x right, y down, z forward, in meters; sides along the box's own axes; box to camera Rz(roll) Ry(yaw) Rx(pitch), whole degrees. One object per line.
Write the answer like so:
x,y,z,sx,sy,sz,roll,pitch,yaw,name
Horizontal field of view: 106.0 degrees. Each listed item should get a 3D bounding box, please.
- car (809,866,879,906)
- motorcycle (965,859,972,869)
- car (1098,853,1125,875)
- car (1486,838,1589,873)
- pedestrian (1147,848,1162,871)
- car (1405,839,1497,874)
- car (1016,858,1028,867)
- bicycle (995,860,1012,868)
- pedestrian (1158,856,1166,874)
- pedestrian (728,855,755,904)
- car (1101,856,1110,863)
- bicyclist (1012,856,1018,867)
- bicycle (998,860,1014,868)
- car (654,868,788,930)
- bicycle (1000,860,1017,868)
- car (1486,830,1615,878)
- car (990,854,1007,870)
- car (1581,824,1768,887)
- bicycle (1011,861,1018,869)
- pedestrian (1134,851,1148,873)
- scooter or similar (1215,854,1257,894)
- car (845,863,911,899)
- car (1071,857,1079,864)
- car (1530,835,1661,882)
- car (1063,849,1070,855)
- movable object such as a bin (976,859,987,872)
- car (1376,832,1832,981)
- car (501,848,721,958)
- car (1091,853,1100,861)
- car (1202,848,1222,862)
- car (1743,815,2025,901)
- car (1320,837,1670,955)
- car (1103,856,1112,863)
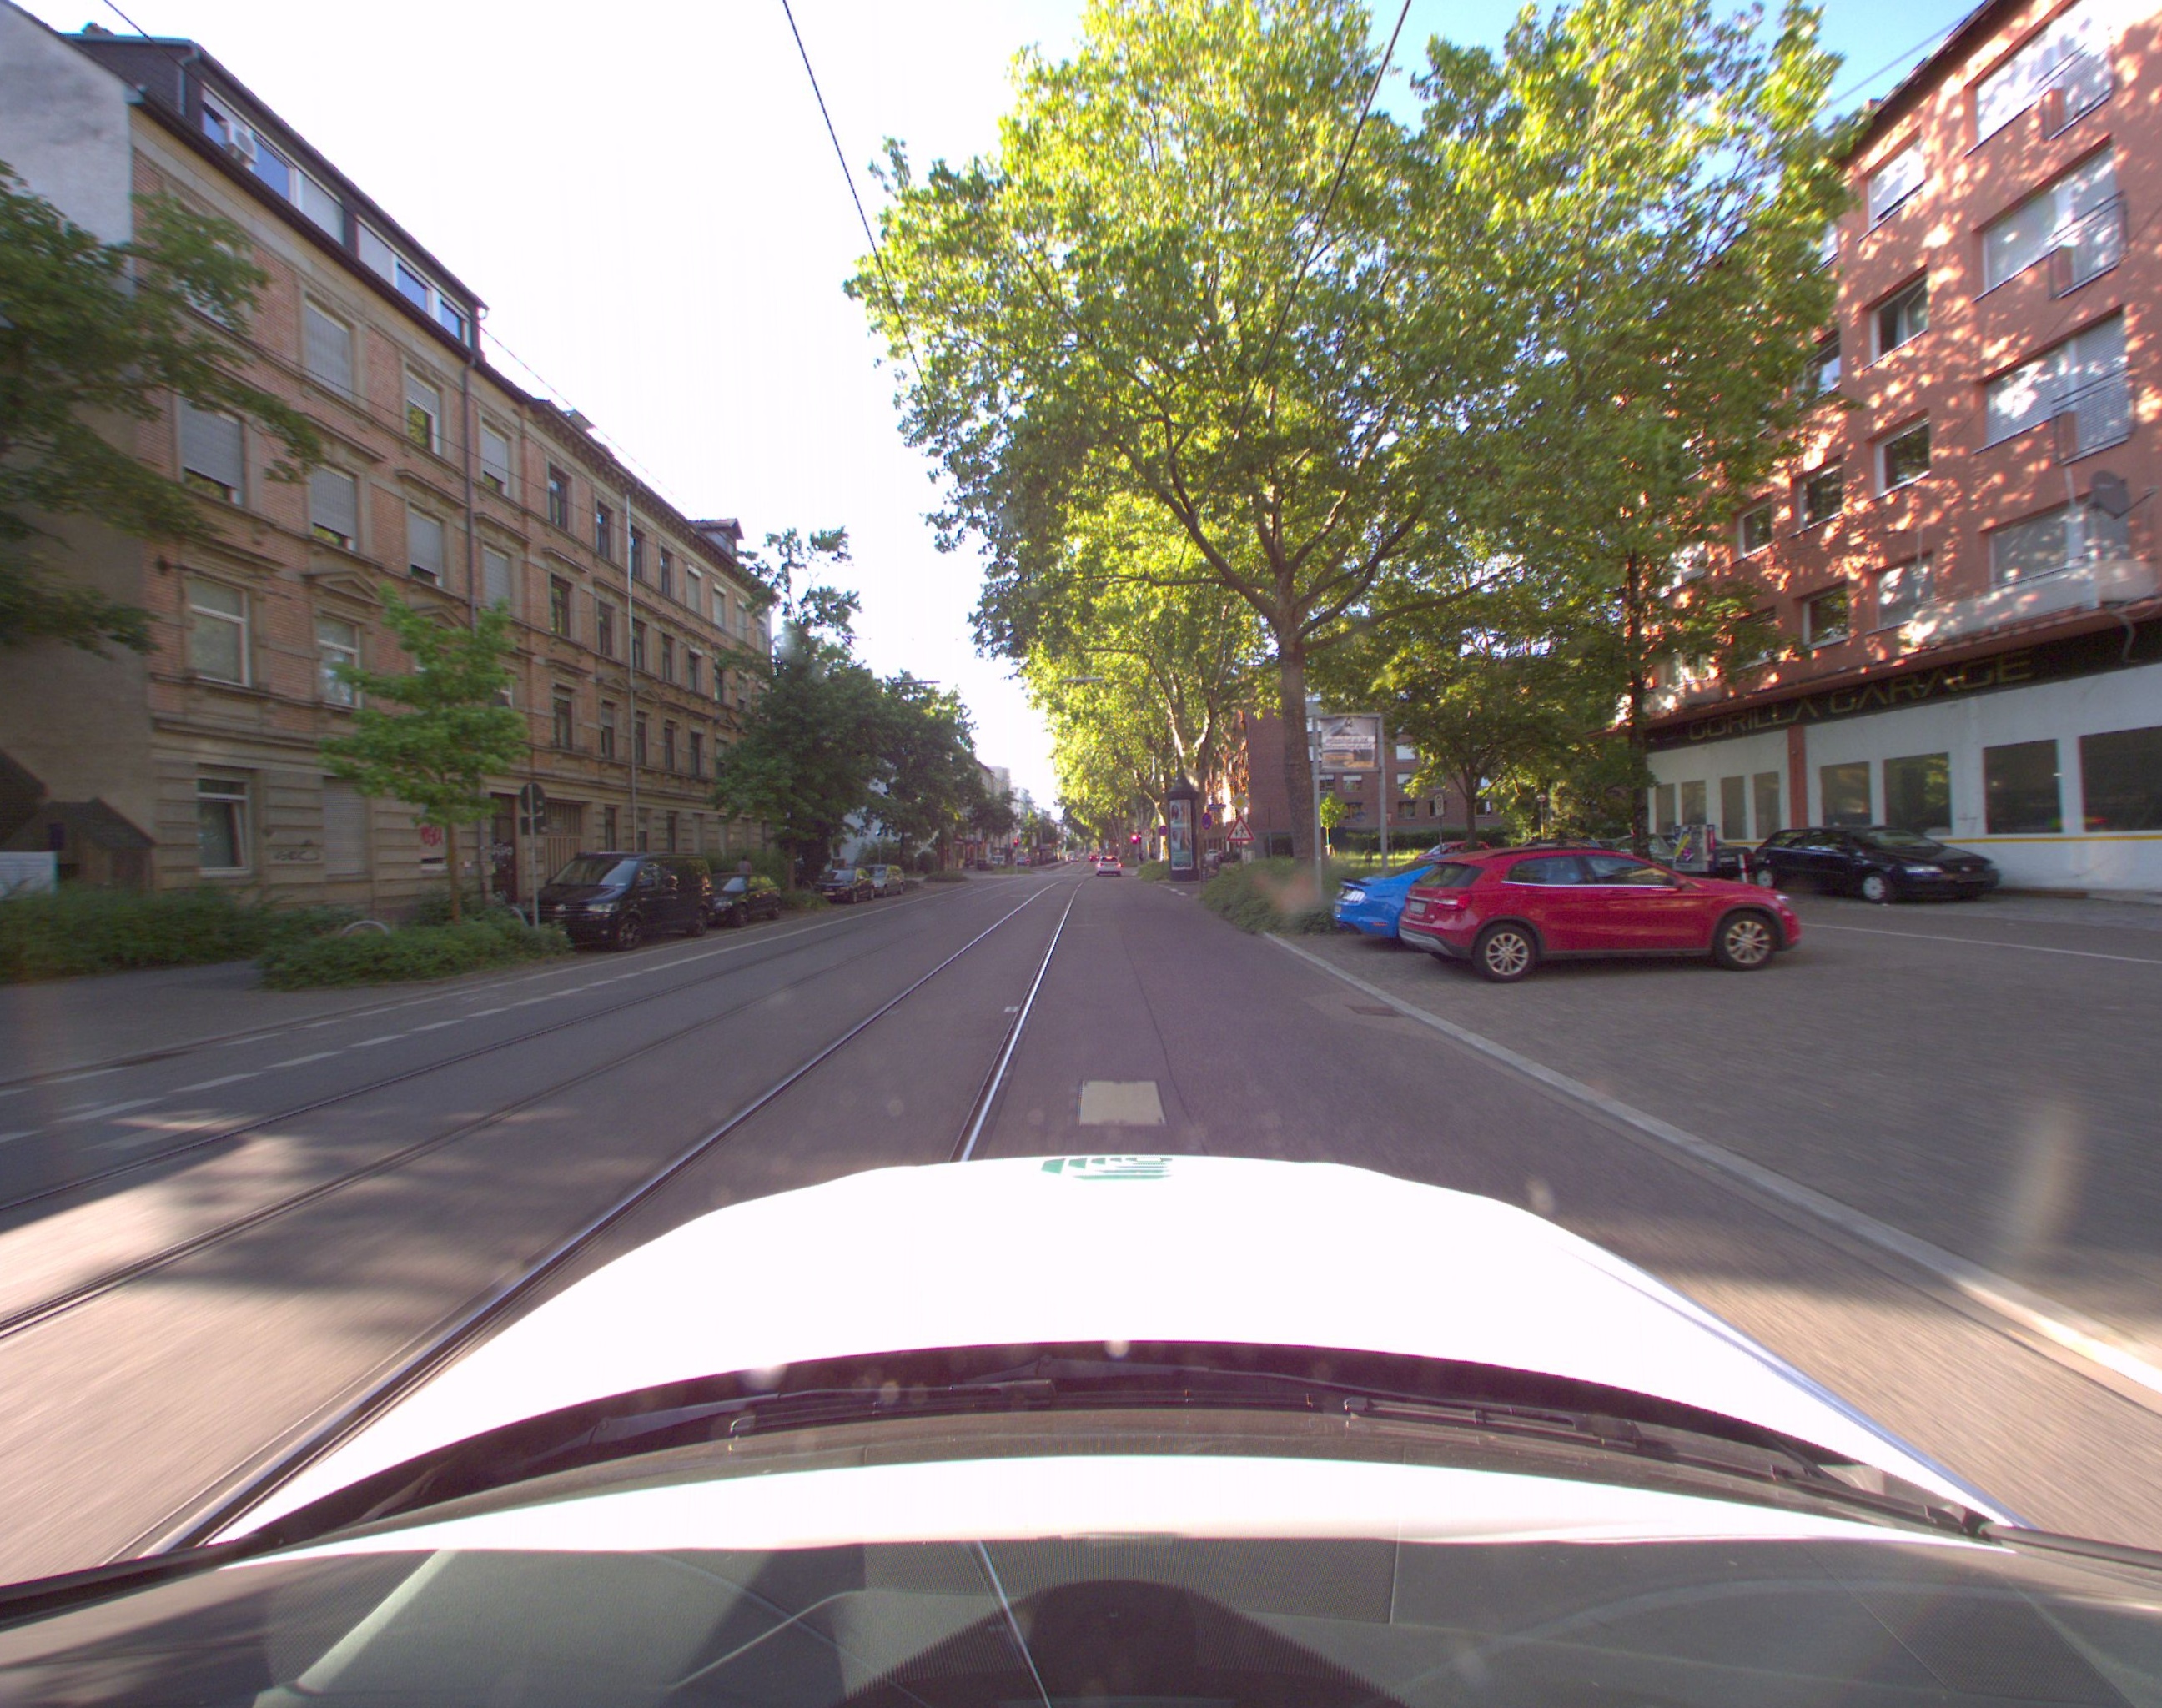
-9.664,1.269,33.485,1.653,1.445,3.949,-1,0,0,car
-14.166,1.258,102.645,0.597,1.311,2.222,-2,0,0,motorcycle
2.174,0.695,58.514,1.782,1.513,4.000,-2,0,0,car
21.269,0.051,38.030,3.907,1.452,1.682,-2,0,-2,car
6.207,0.459,68.804,0.981,1.863,1.014,-5,0,-5,pedestrian
17.376,0.108,38.310,3.528,1.452,1.682,-2,0,-2,car
-9.892,1.414,136.307,1.588,1.548,4.000,0,0,0,car
-10.563,1.406,111.342,2.244,1.074,0.636,1,0,1,bicycle
7.965,1.065,80.119,0.650,1.669,0.738,-2,0,0,pedestrian
-13.175,0.985,31.643,0.739,1.847,0.728,0,0,-1,pedestrian
5.810,1.249,189.982,1.987,1.453,4.000,-2,0,0,car
-8.486,0.951,104.046,0.639,1.455,0.837,-3,0,0,bicyclist
-10.718,1.418,116.785,2.244,1.074,0.636,1,0,1,bicycle
-10.009,1.185,23.034,1.847,1.458,4.269,-2,0,-1,car
-10.551,1.436,118.616,2.244,1.074,0.636,1,0,1,bicycle
17.071,0.004,29.903,1.786,1.574,4.570,-2,0,-5,car
-10.532,1.002,103.698,1.682,1.940,4.000,-2,0,0,car
15.624,0.044,21.784,1.742,1.435,4.468,-2,0,1,car
-8.452,1.425,104.033,0.639,0.987,2.100,-3,0,0,bicycle
5.268,0.703,71.771,0.993,1.811,0.863,-2,0,-5,pedestrian
4.959,0.633,26.079,1.205,1.240,0.569,-2,-1,-2,scooter or similar
-9.595,1.241,38.809,1.692,1.550,4.540,-1,0,4,car
-1.439,1.480,187.809,1.688,1.419,4.000,-2,0,0,car
19.288,0.169,30.807,1.786,1.574,4.570,-2,0,-5,car
-4.396,-0.524,251.024,1.860,1.892,4.000,-2,0,0,car
-11.071,1.281,90.476,1.167,1.348,0.782,2,-1,-4,movable object such as a bin
6.219,0.596,10.147,4.385,1.543,1.953,-2,0,2,car
-9.979,0.926,17.866,1.987,2.013,4.833,-2,0,-1,car
2.885,0.690,162.525,1.782,1.513,4.000,-2,0,0,car
14.694,0.116,91.683,1.595,1.495,3.415,-2,0,-1,car
15.670,0.078,16.237,1.742,1.435,3.951,-2,0,1,car
6.064,0.613,12.431,4.379,1.543,1.821,-2,0,7,car
5.937,1.219,184.895,1.987,1.453,4.000,-2,0,0,car
